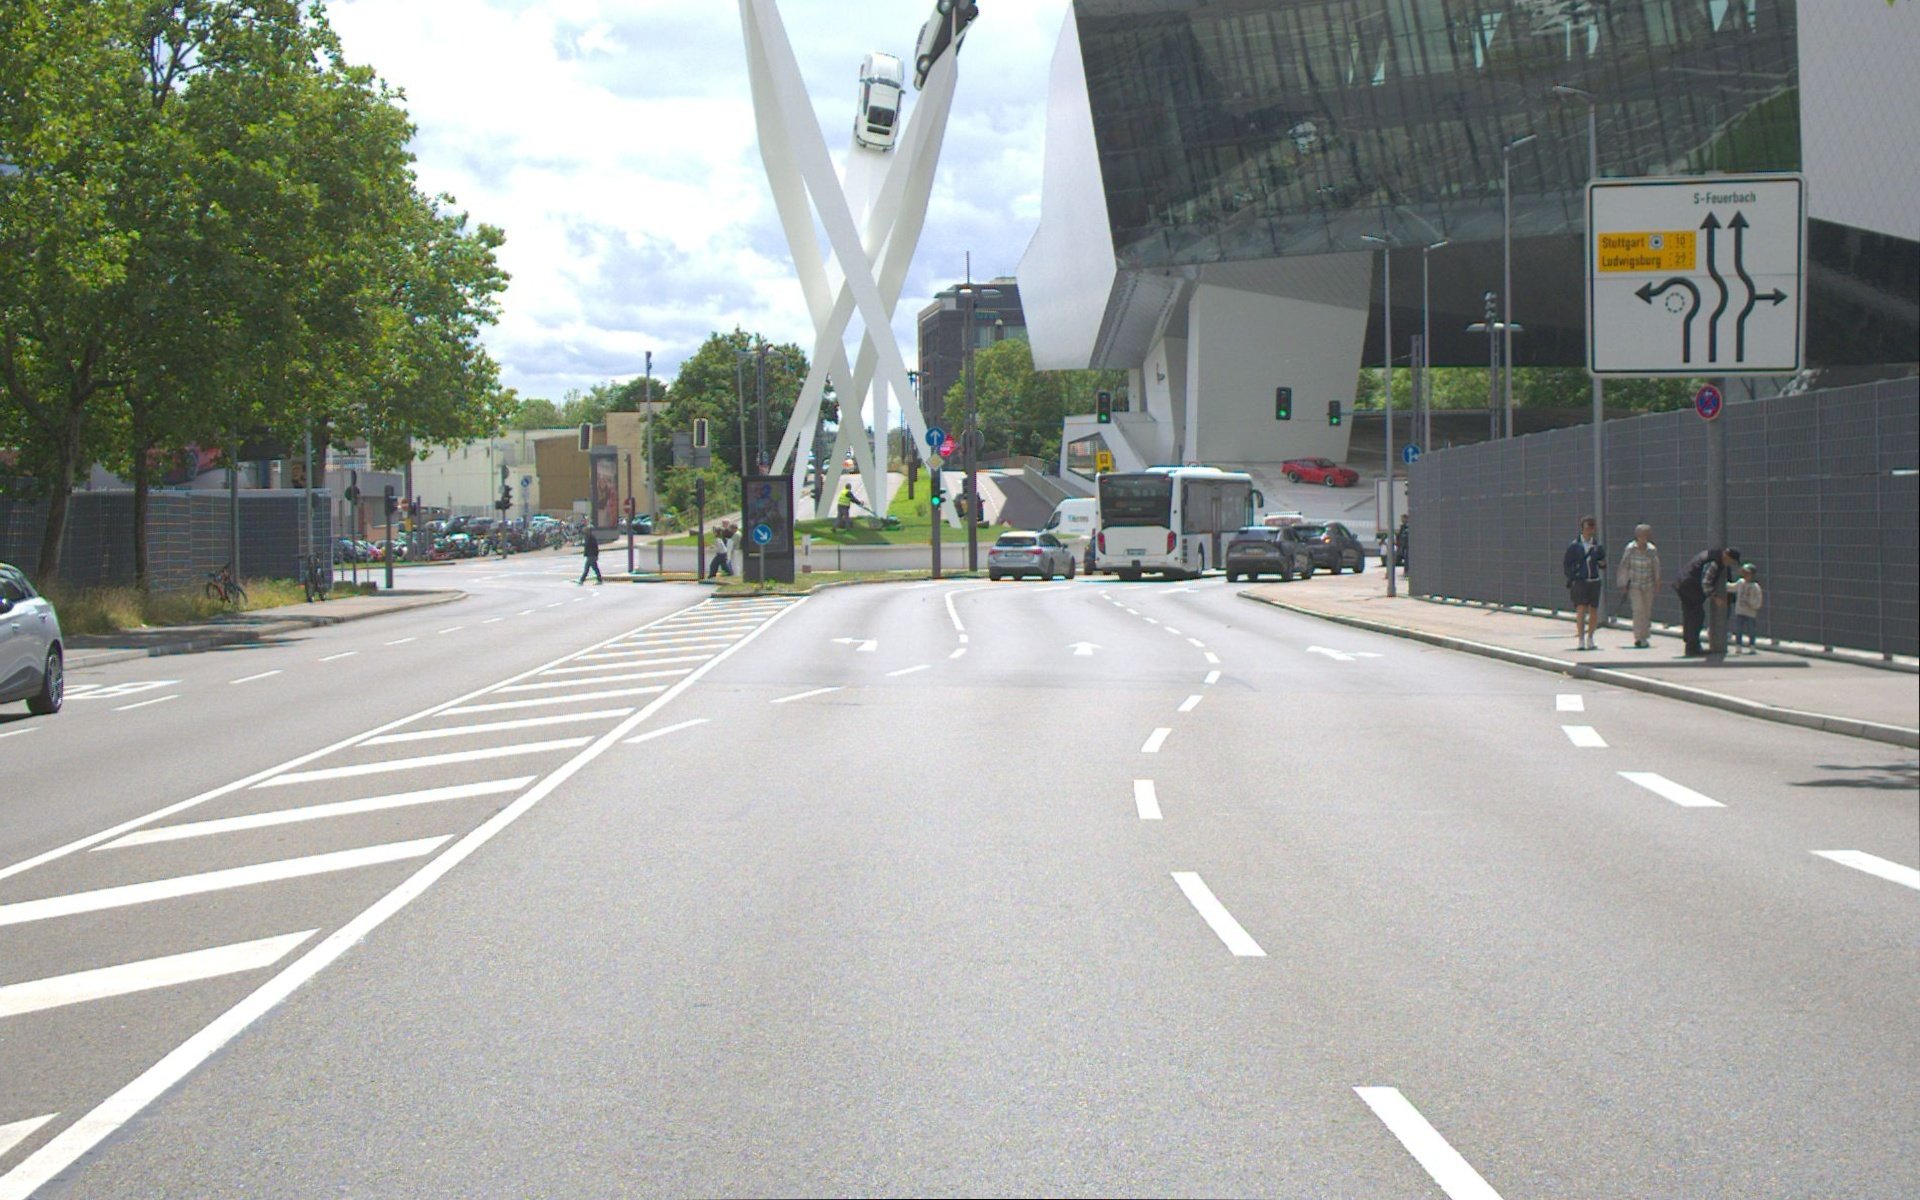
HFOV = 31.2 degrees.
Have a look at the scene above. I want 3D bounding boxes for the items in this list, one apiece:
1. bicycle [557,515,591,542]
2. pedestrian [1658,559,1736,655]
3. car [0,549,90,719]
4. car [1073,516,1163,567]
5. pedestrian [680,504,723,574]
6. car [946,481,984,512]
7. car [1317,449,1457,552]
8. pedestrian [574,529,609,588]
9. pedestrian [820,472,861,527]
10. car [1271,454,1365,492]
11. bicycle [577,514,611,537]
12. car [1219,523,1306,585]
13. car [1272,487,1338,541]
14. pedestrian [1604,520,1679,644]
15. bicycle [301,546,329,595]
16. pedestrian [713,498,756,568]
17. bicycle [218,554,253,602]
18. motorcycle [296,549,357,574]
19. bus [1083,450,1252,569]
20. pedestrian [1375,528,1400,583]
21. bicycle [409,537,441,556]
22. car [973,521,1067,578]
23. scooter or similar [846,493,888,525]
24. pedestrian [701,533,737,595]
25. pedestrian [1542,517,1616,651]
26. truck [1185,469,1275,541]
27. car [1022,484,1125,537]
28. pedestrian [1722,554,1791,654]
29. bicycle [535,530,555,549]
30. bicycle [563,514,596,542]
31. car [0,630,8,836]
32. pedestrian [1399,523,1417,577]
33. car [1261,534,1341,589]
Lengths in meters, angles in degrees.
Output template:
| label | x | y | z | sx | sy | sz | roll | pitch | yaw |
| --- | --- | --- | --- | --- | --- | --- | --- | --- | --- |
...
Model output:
| label | x | y | z | sx | sy | sz | roll | pitch | yaw |
| --- | --- | --- | --- | --- | --- | --- | --- | --- | --- |
| bicycle | -19.206 | -3.556 | 171.040 | 1.605 | 1.312 | 0.493 | 1 | 0 | -1 |
| pedestrian | 8.931 | 0.078 | 41.714 | 0.757 | 1.145 | 0.971 | 1 | 0 | 3 |
| car | -9.590 | 0.334 | 31.896 | 1.878 | 1.500 | 4.191 | -2 | 1 | 1 |
| car | 5.293 | -1.952 | 114.741 | 1.995 | 1.631 | 3.996 | 1 | 0 | 18 |
| pedestrian | -7.698 | -1.808 | 102.443 | 0.953 | 2.048 | 0.950 | 1 | 0 | 18 |
| car | 0.304 | -5.757 | 190.558 | 1.993 | 1.630 | 4.656 | 1 | 3 | 1 |
| car | 15.628 | -3.565 | 125.107 | 3.338 | 3.492 | 9.333 | 1 | 0 | 18 |
| pedestrian | -11.090 | -1.250 | 103.453 | 0.863 | 1.767 | 1.036 | 1 | 0 | -14 |
| pedestrian | -4.194 | -3.522 | 120.853 | 1.282 | 1.810 | 0.987 | -3 | 5 | 1 |
| car | 18.217 | -6.483 | 175.063 | 1.995 | 1.390 | 4.511 | -6 | 12 | -43 |
| bicycle | -19.177 | -3.899 | 180.211 | 1.737 | 1.178 | 0.670 | 1 | 2 | -1 |
| car | 8.782 | -1.357 | 99.560 | 1.994 | 1.631 | 3.998 | 1 | 3 | 12 |
| car | 12.918 | -3.192 | 128.543 | 1.994 | 1.926 | 4.238 | 1 | 0 | 12 |
| pedestrian | 8.888 | -0.232 | 44.839 | 0.794 | 1.591 | 0.732 | 1 | 0 | -1 |
| bicycle | -14.985 | -0.678 | 79.915 | 0.296 | 1.127 | 1.485 | 1 | 0 | 3 |
| pedestrian | -6.665 | -1.991 | 101.742 | 0.953 | 2.048 | 0.950 | 1 | 0 | 18 |
| bicycle | -15.484 | -0.473 | 73.484 | 0.296 | 1.002 | 1.251 | 1 | 0 | 10 |
| motorcycle | -31.683 | -1.932 | 171.865 | 2.906 | 1.191 | 0.919 | 1 | 0 | 18 |
| bus | 6.483 | -2.683 | 105.092 | 3.074 | 3.350 | 12.215 | 1 | 0 | 13 |
| pedestrian | 12.550 | -1.299 | 100.825 | 0.659 | 1.602 | 0.822 | 1 | 0 | 11 |
| bicycle | -25.637 | -2.573 | 164.658 | 1.609 | 0.863 | 0.492 | 1 | 0 | 34 |
| car | 1.789 | -1.474 | 101.059 | 1.994 | 1.631 | 3.998 | 1 | 0 | 12 |
| scooter or similar | -3.275 | -3.213 | 121.094 | 1.400 | 1.022 | 0.550 | -2 | 7 | 0 |
| pedestrian | -7.009 | -1.051 | 99.892 | 0.863 | 1.767 | 1.036 | 1 | 0 | -14 |
| pedestrian | 8.053 | -0.211 | 44.748 | 0.794 | 1.715 | 0.732 | 1 | 0 | -1 |
| truck | 9.893 | -3.436 | 125.533 | 2.209 | 2.507 | 5.129 | 1 | 0 | 17 |
| car | 4.740 | -3.758 | 144.720 | 1.993 | 2.163 | 4.655 | 1 | 1 | -33 |
| pedestrian | 9.715 | 0.048 | 41.943 | 0.714 | 1.202 | 0.598 | 1 | 0 | 3 |
| bicycle | -20.333 | -2.949 | 168.364 | 0.491 | 0.863 | 1.611 | -1 | 4 | 10 |
| bicycle | -19.077 | -3.624 | 172.484 | 1.605 | 1.378 | 0.493 | 1 | 0 | -1 |
| car | -5.851 | 0.590 | 15.979 | 1.691 | 1.410 | 4.146 | -2 | 1 | -1 |
| pedestrian | 13.458 | -1.489 | 103.234 | 0.464 | 1.610 | 0.663 | 1 | 0 | 2 |
| car | 10.516 | -1.165 | 105.848 | 1.994 | 1.631 | 3.998 | 1 | 0 | 12 |
